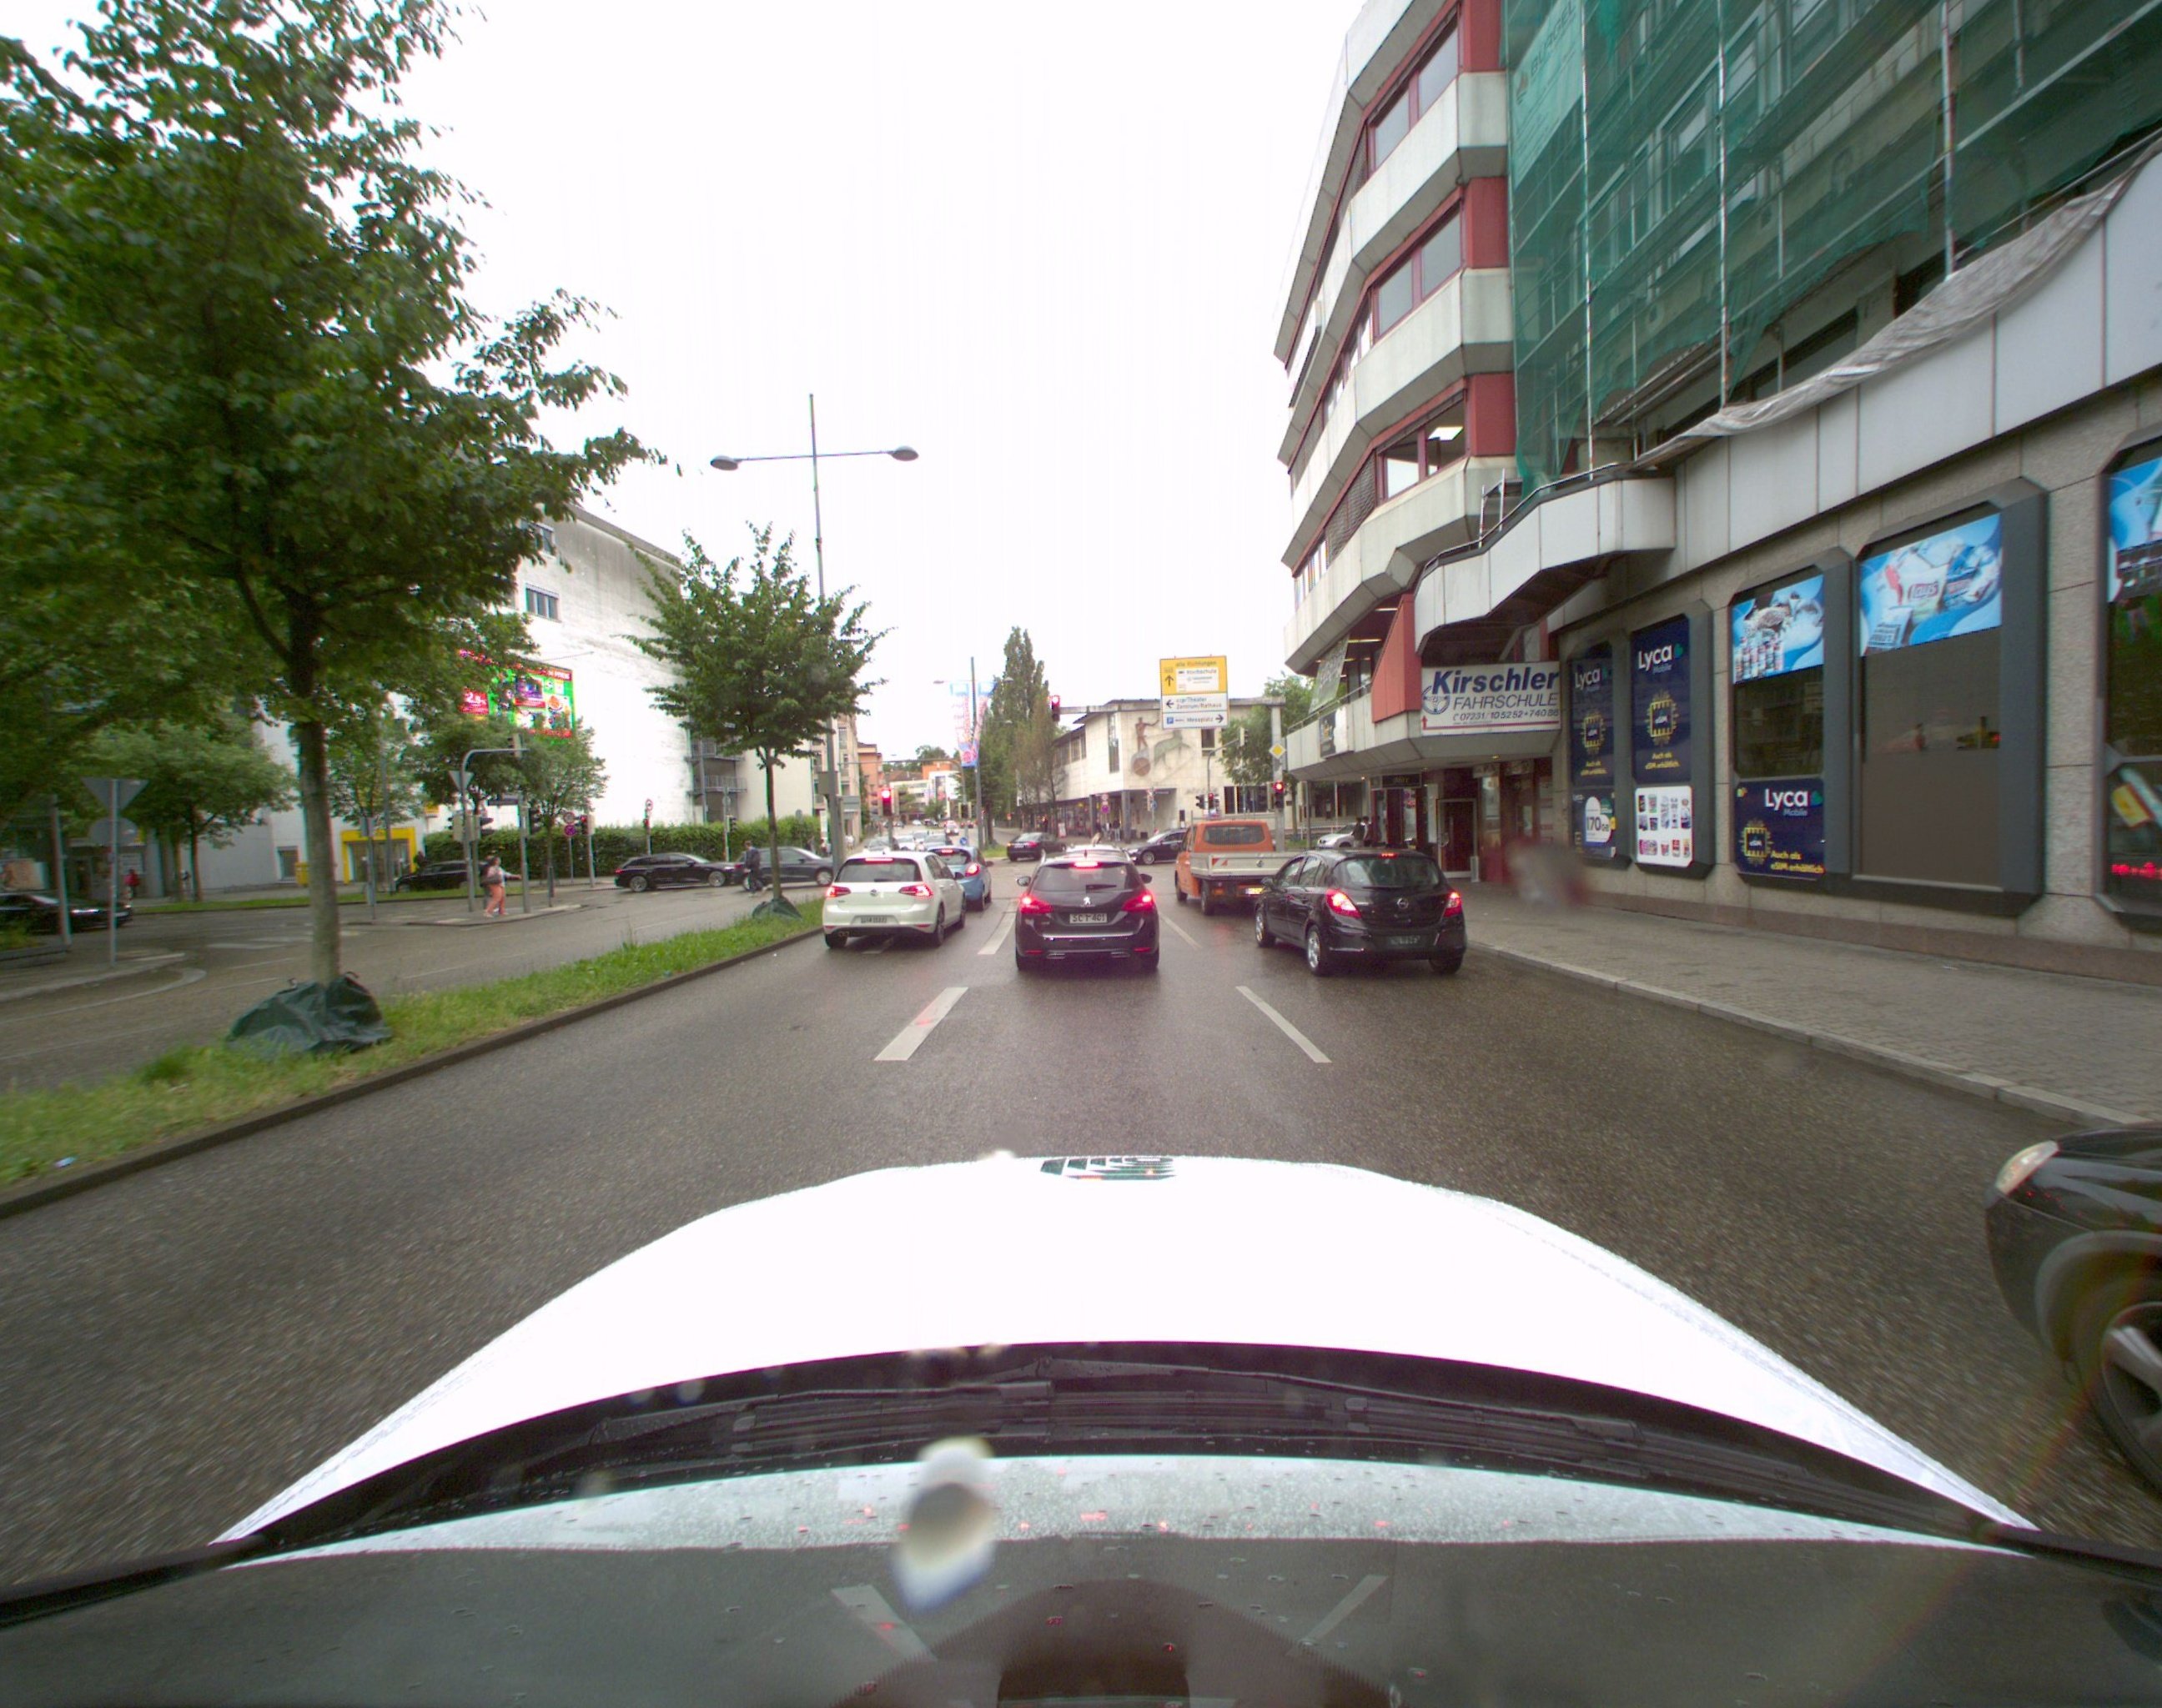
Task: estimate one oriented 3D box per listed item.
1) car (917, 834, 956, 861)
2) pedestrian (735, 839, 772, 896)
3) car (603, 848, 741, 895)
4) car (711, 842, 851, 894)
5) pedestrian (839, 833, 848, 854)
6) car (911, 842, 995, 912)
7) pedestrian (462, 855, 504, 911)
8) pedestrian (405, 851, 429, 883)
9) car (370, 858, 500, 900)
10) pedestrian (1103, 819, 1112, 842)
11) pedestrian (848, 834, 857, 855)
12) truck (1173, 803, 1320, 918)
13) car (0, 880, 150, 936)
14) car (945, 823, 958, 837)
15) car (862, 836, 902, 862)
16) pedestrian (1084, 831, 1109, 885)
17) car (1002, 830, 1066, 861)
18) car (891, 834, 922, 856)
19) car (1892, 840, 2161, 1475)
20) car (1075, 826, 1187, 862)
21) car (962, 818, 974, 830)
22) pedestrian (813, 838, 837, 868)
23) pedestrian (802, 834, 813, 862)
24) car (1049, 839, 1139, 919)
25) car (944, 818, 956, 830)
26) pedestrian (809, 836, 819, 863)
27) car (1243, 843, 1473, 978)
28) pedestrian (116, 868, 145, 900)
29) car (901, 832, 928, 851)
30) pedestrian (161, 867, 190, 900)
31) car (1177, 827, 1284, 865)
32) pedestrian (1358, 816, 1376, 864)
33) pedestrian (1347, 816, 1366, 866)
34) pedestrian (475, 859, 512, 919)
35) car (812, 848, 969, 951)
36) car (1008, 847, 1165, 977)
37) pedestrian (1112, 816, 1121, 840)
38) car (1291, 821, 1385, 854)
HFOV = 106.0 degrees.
[{"bbox_3d":[-8.888,-0.388,50.323,1.739,1.579,3.997,-1,-1,-2],"label":"car"},{"bbox_3d":[-10.536,0.429,26.247,0.921,1.783,0.708,0,-1,-4],"label":"pedestrian"},{"bbox_3d":[-16.263,0.659,32.637,4.494,1.454,1.787,-4,3,-11],"label":"car"},{"bbox_3d":[-10.930,0.478,29.993,4.494,1.454,1.787,-4,3,-11],"label":"car"},{"bbox_3d":[-19.553,-0.884,67.132,0.595,1.728,0.655,0,-1,-7],"label":"pedestrian"},{"bbox_3d":[-2.990,0.478,19.657,1.629,1.486,3.606,-1,1,-3],"label":"car"},{"bbox_3d":[-18.624,0.892,25.385,0.750,1.661,0.628,-2,2,1],"label":"pedestrian"},{"bbox_3d":[-34.618,0.669,42.478,0.730,1.643,0.638,0,-1,-6],"label":"pedestrian"},{"bbox_3d":[-28.799,1.098,36.455,4.053,1.454,1.787,-4,3,-11],"label":"car"},{"bbox_3d":[2.070,-1.861,64.320,0.633,1.758,0.735,-1,-1,8],"label":"pedestrian"},{"bbox_3d":[-18.989,-0.811,67.727,0.595,1.728,0.655,0,-1,-7],"label":"pedestrian"},{"bbox_3d":[3.424,0.056,17.936,2.170,2.172,5.019,-1,1,0],"label":"truck"},{"bbox_3d":[-33.933,1.790,26.728,4.227,1.565,1.699,-3,1,-9],"label":"car"},{"bbox_3d":[-17.427,-3.251,109.771,1.744,1.640,3.988,0,-1,-9],"label":"car"},{"bbox_3d":[-12.029,-0.323,49.343,1.570,1.486,3.608,-1,1,-1],"label":"car"},{"bbox_3d":[0.512,0.125,25.930,0.745,1.680,0.710,-1,-1,4],"label":"pedestrian"},{"bbox_3d":[-2.409,-0.402,43.145,1.711,1.490,4.756,-1,-1,19],"label":"car"},{"bbox_3d":[-12.195,-0.637,56.997,1.630,1.486,3.604,-1,1,-4],"label":"car"},{"bbox_3d":[3.178,0.703,0.644,1.600,1.429,3.626,-1,1,3],"label":"car"},{"bbox_3d":[2.186,-0.456,35.895,4.721,1.486,1.633,-1,1,-9],"label":"car"},{"bbox_3d":[-20.791,-5.534,149.534,1.709,1.936,3.978,0,-1,-15],"label":"car"},{"bbox_3d":[-13.439,-0.049,42.736,1.059,1.578,0.683,0,-1,-3],"label":"pedestrian"},{"bbox_3d":[-17.649,-0.376,52.541,0.538,1.748,0.745,0,-1,-7],"label":"pedestrian"},{"bbox_3d":[0.294,0.444,17.428,1.690,1.486,3.795,-1,1,1],"label":"car"},{"bbox_3d":[-23.987,-5.481,148.709,1.709,1.882,3.978,0,-1,-15],"label":"car"},{"bbox_3d":[-17.745,-0.313,54.115,0.538,1.748,0.564,0,-1,-3],"label":"pedestrian"},{"bbox_3d":[3.402,0.588,10.773,1.612,1.429,3.839,-1,1,-2],"label":"car"},{"bbox_3d":[-48.505,1.515,41.563,0.633,1.643,0.735,-1,-1,8],"label":"pedestrian"},{"bbox_3d":[-12.964,-0.991,63.617,1.630,1.486,3.604,-1,1,-4],"label":"car"},{"bbox_3d":[-45.816,1.483,41.198,0.727,1.643,0.640,-1,-1,7],"label":"pedestrian"},{"bbox_3d":[6.049,-0.309,33.093,3.987,1.486,1.618,0,-1,-10],"label":"car"},{"bbox_3d":[10.041,-0.477,28.585,0.395,1.640,0.504,-3,-1,2],"label":"pedestrian"},{"bbox_3d":[9.553,-0.445,28.259,0.424,1.682,0.450,-3,-1,0],"label":"pedestrian"},{"bbox_3d":[-17.053,1.005,23.651,0.555,1.661,0.579,-2,2,1],"label":"pedestrian"},{"bbox_3d":[-3.017,0.650,13.684,1.772,1.429,3.840,-1,1,-1],"label":"car"},{"bbox_3d":[0.063,0.641,11.182,1.772,1.429,3.841,-1,1,0],"label":"car"},{"bbox_3d":[2.848,-2.073,64.876,0.633,1.897,0.735,-1,-1,8],"label":"pedestrian"},{"bbox_3d":[12.052,-0.784,38.276,3.896,1.486,1.617,0,-1,-11],"label":"car"}]
